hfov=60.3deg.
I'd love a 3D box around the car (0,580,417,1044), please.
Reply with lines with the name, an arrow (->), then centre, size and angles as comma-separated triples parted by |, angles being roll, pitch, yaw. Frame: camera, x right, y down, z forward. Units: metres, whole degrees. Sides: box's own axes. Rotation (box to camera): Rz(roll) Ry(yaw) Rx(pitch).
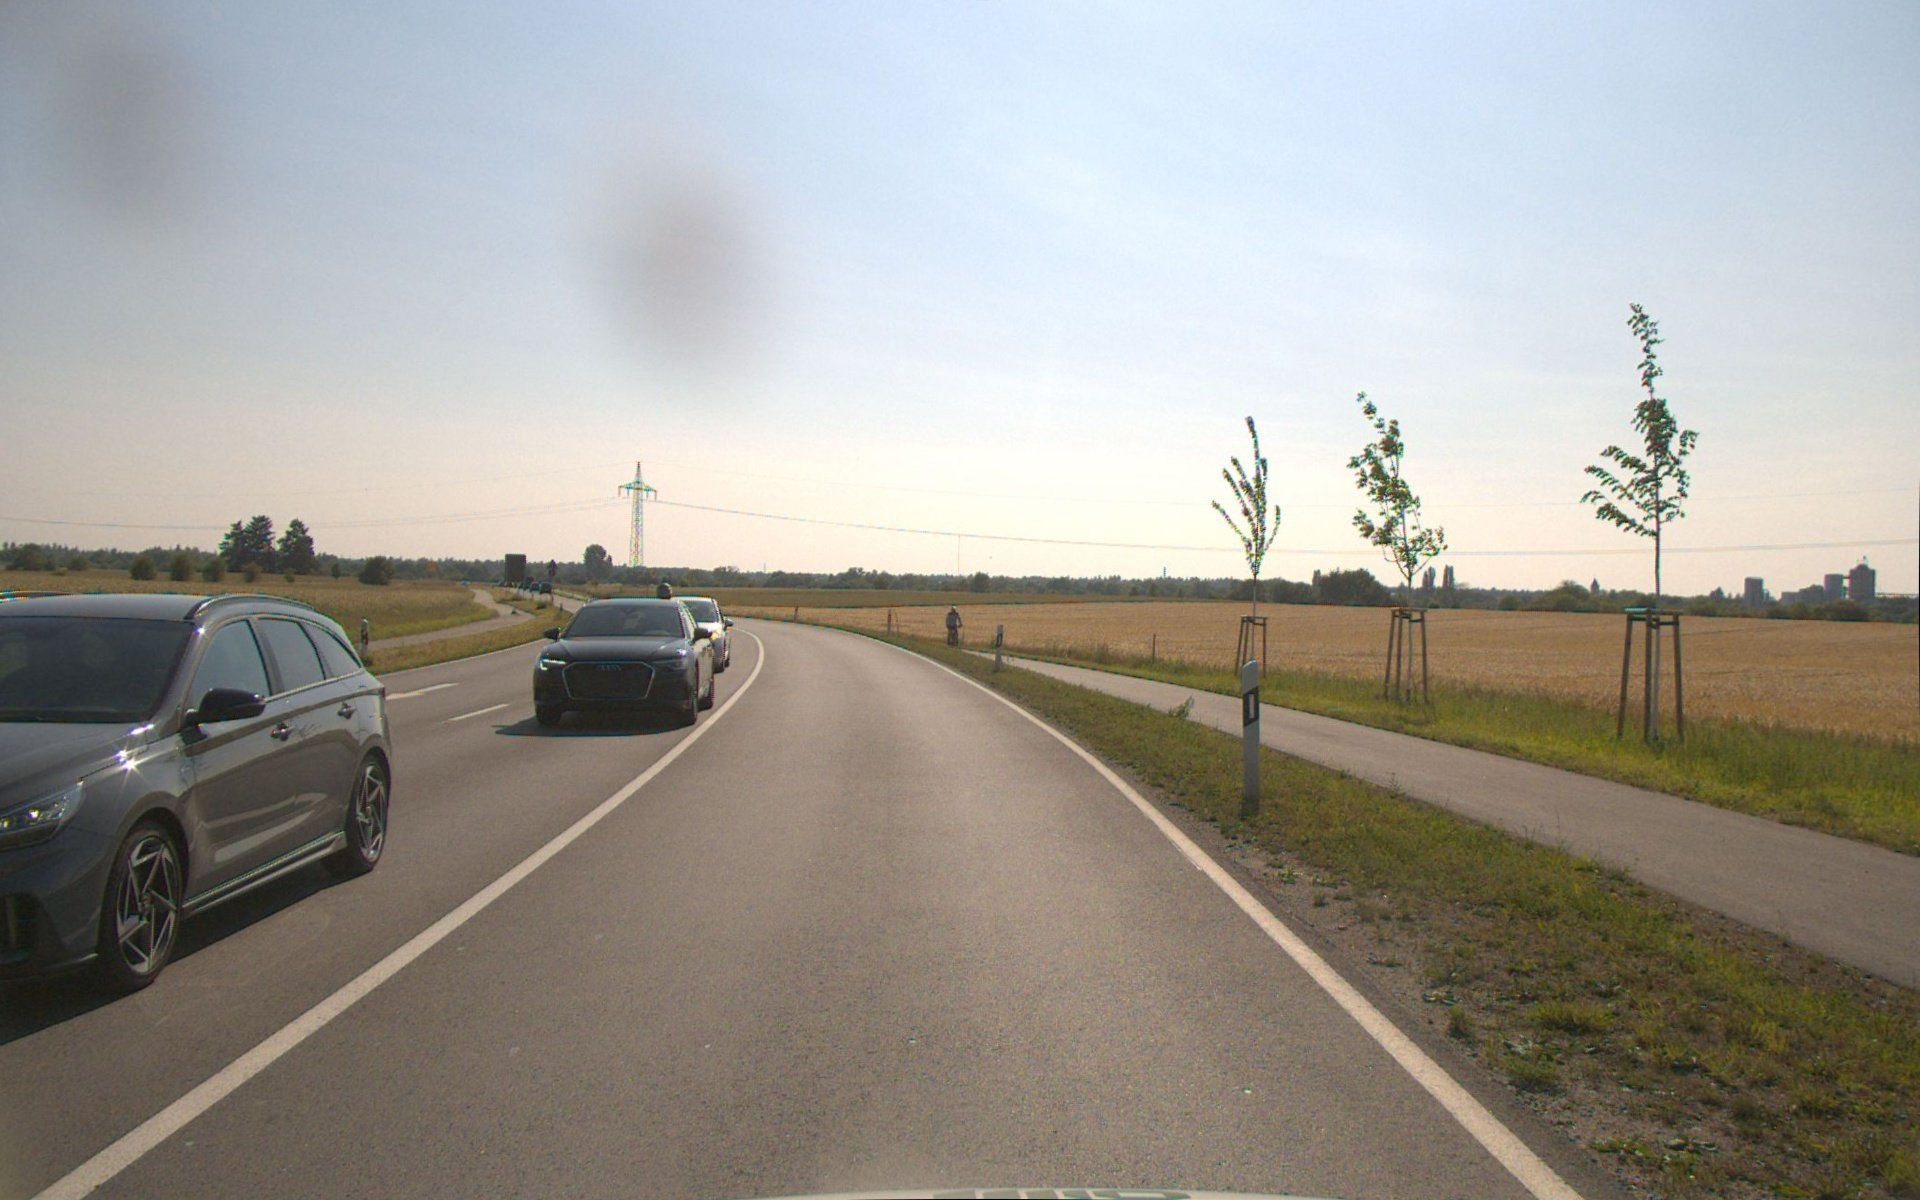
car -> -3.989, 0.682, 7.409 | 1.852, 1.486, 4.303 | 0, 0, -3

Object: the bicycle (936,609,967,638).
bicycle -> -0.376, 0.975, 69.200 | 0.830, 1.162, 2.200 | 3, -1, -12

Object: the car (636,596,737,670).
car -> -5.611, 0.642, 34.264 | 1.653, 1.428, 3.997 | 0, 0, -3

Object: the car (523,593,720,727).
car -> -4.091, 0.669, 20.708 | 1.853, 1.461, 4.791 | 1, 0, -5

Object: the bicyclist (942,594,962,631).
bicyclist -> -0.336, 0.517, 69.188 | 0.626, 1.482, 0.814 | 3, -1, -12

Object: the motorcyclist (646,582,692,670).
motorcyclist -> -5.090, 0.444, 28.973 | 0.664, 1.521, 0.846 | 1, 0, -3
